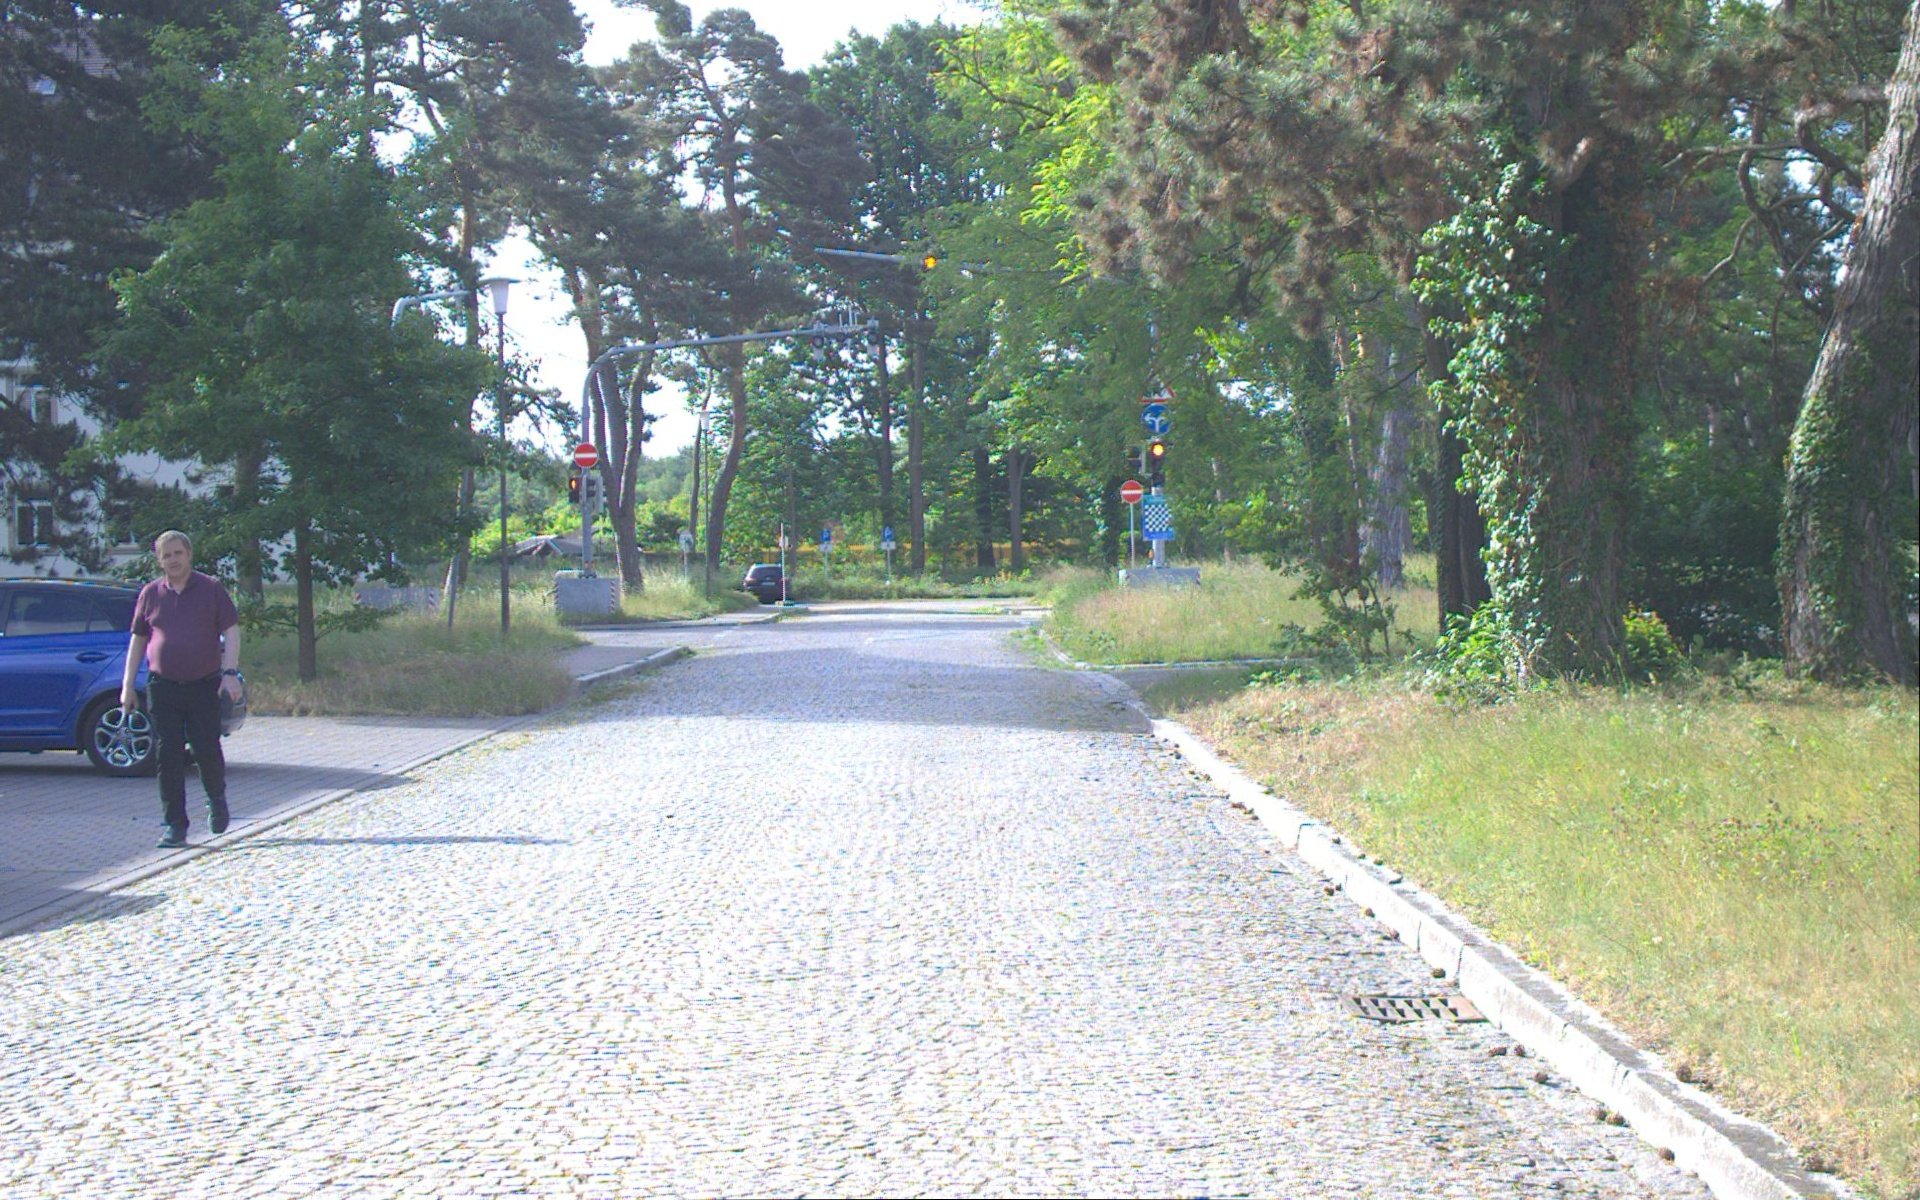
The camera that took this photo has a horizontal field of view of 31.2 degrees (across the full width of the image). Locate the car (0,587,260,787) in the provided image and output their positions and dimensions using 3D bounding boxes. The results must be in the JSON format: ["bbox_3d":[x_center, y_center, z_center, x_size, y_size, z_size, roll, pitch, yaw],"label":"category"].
[{"bbox_3d":[-7.509,0.639,26.539,3.836,1.459,1.720,1,1,1],"label":"car"}]

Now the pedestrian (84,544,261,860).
[{"bbox_3d":[-4.567,0.568,20.015,0.804,1.765,1.153,-1,1,-4],"label":"pedestrian"}]

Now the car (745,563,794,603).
[{"bbox_3d":[-7.341,-0.660,132.712,1.845,1.481,4.001,-1,1,-3],"label":"car"}]

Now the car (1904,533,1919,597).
[{"bbox_3d":[20.522,-0.718,68.967,1.730,1.307,4.332,-1,1,-4],"label":"car"}]
